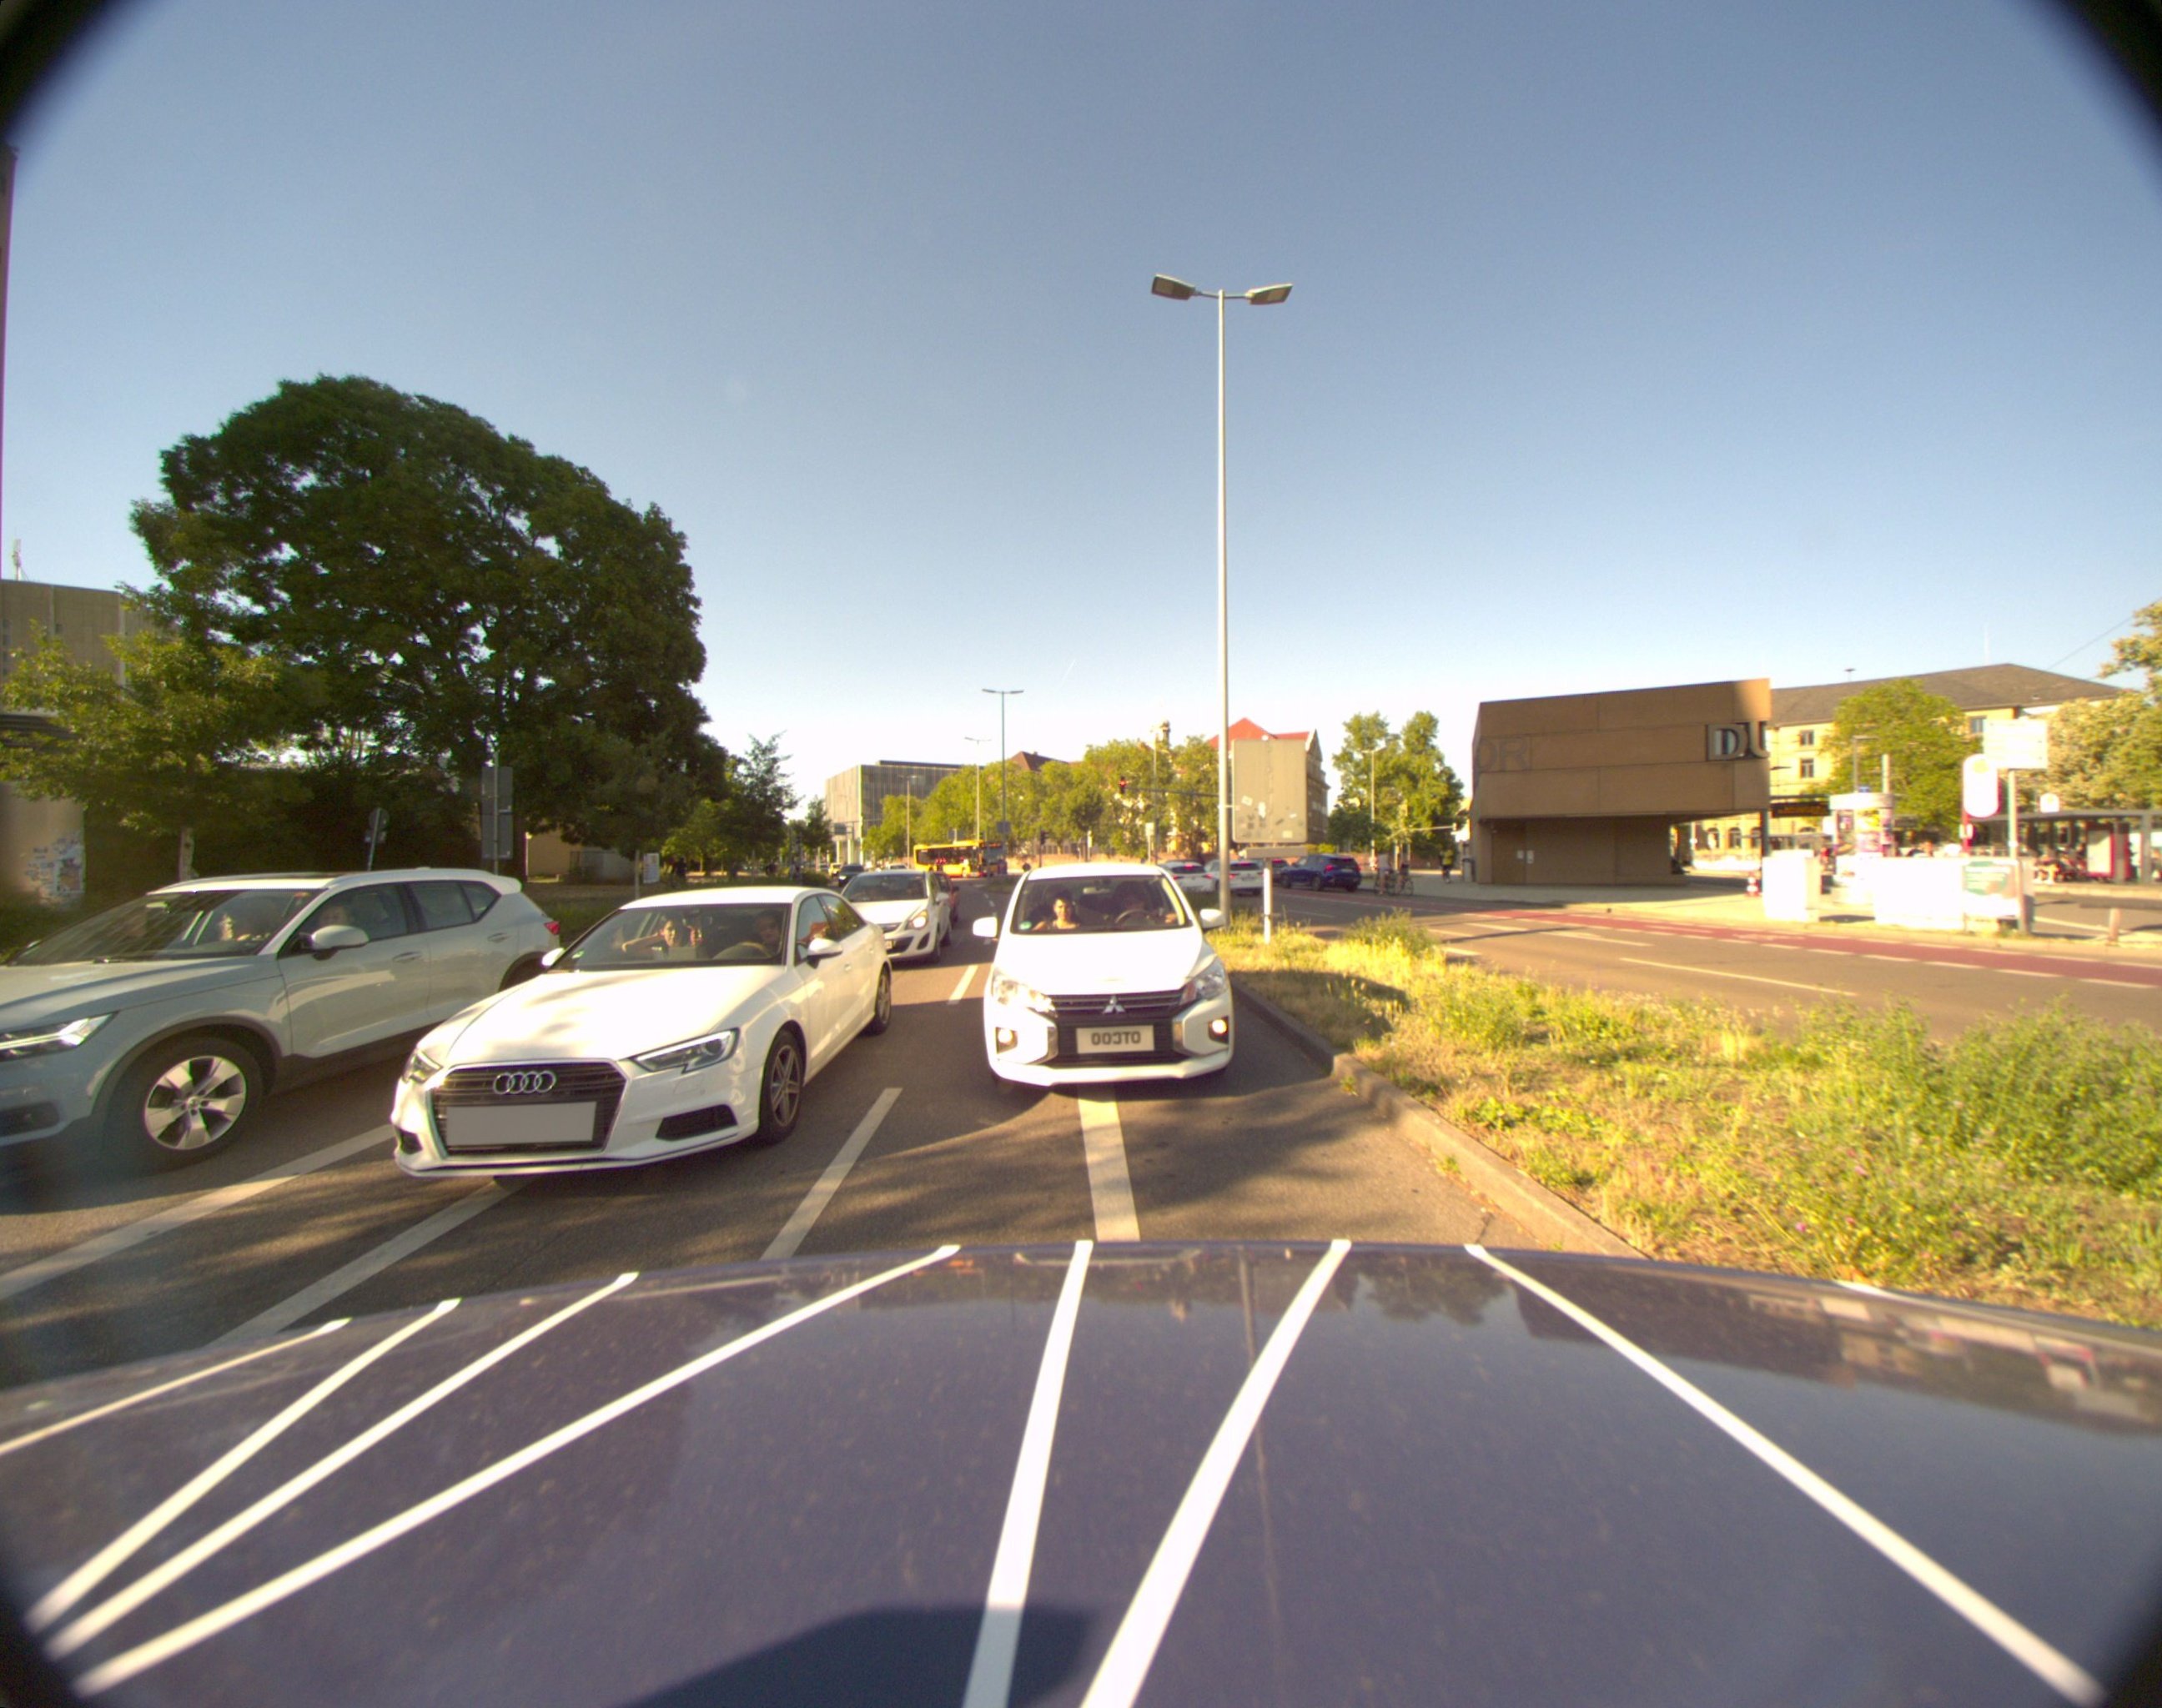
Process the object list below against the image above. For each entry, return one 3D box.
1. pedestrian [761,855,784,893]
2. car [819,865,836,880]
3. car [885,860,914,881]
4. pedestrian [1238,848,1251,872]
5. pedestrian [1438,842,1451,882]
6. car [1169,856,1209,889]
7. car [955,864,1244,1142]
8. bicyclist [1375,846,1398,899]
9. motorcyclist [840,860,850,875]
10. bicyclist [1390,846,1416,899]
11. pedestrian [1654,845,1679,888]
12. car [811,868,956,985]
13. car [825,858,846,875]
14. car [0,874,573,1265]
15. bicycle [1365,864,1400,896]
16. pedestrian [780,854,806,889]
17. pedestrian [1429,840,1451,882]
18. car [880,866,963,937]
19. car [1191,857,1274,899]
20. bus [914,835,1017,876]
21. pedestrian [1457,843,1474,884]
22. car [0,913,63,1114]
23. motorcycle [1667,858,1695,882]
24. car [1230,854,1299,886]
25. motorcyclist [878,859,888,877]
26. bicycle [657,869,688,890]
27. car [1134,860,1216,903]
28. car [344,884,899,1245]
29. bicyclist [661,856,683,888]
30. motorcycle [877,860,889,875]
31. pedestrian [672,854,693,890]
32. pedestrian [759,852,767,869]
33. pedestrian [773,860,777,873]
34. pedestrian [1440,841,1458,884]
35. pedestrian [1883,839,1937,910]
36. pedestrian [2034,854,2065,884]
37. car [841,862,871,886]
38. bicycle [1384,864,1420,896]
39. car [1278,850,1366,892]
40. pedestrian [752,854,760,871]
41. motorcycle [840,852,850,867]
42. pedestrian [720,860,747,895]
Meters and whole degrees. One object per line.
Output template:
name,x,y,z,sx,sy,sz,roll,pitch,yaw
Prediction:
pedestrian,-16.516,1.049,40.753,0.895,2.002,0.881,-2,1,-10
car,-30.279,2.161,90.727,1.748,1.696,3.993,-1,0,-21
car,-13.946,1.271,58.259,1.758,1.451,4.182,-3,1,-19
pedestrian,12.873,0.500,59.694,0.797,1.886,0.612,0,1,40
pedestrian,18.437,0.381,38.530,0.467,2.002,0.657,-2,1,17
car,5.335,0.875,37.977,1.754,1.451,4.190,-2,1,5
car,0.060,0.892,6.437,1.628,1.451,4.040,-2,1,-2
bicyclist,11.760,0.697,29.270,0.611,2.002,0.565,-1,1,-15
motorcyclist,-20.678,1.200,66.621,0.718,1.297,0.734,-3,1,-17
bicyclist,12.478,0.702,29.422,0.611,2.002,0.708,-1,1,-15
pedestrian,27.851,0.596,36.131,0.780,2.002,0.771,-3,2,-42
car,-3.069,1.047,12.584,1.628,1.451,4.039,-2,1,-5
car,-25.313,1.302,78.222,1.748,1.696,3.993,-1,0,-21
car,-5.746,1.051,5.262,1.628,1.611,4.223,-2,1,-2
bicycle,11.696,1.009,29.548,0.464,1.185,1.395,-3,1,-17
pedestrian,-16.949,1.021,44.758,1.143,2.002,1.285,-2,1,-10
pedestrian,17.712,0.347,37.490,0.777,2.002,0.773,-2,1,13
car,-3.892,1.095,19.101,1.628,1.451,4.039,-2,1,-7
car,6.133,0.941,31.279,1.850,1.483,4.388,-2,1,-10
bus,-10.280,0.185,65.830,3.092,3.193,12.512,-3,1,-38
pedestrian,19.115,0.450,37.737,0.655,2.002,0.469,-2,1,20
car,-8.754,1.240,3.887,1.628,1.451,4.040,-2,1,-2
motorcycle,26.232,0.703,33.226,0.948,1.061,0.331,-1,1,39
car,9.338,0.784,39.062,1.850,1.483,4.388,1,0,-10
motorcyclist,-17.817,1.232,68.455,0.712,1.581,0.689,-3,1,-22
bicycle,-20.240,1.250,37.665,0.660,0.958,2.033,0,1,-7
car,3.529,0.996,29.347,1.757,1.451,4.184,-2,1,-13
car,-2.549,1.035,5.395,1.628,1.396,3.832,-2,1,-2
bicyclist,-20.258,0.890,37.639,0.617,1.551,0.870,-2,1,-8
motorcycle,-17.839,1.223,68.502,0.719,1.297,2.231,-3,1,-21
pedestrian,-17.958,0.808,34.231,0.596,1.585,0.594,-2,1,-8
pedestrian,-29.105,0.594,69.585,0.548,1.597,0.603,-3,1,-19
pedestrian,-41.843,1.709,103.861,0.399,1.676,0.483,-1,1,1
pedestrian,17.339,0.385,35.823,0.655,2.002,0.469,-2,1,20
pedestrian,20.960,0.521,19.227,0.713,1.748,0.583,-2,1,20
pedestrian,38.947,0.610,30.557,0.539,1.180,0.659,-2,1,29
car,-15.322,1.304,51.922,1.757,1.451,4.183,-2,1,-14
bicycle,12.465,0.979,29.537,0.464,1.185,1.395,-3,1,-17
car,10.432,0.689,33.179,1.757,1.680,4.184,-1,0,-13
pedestrian,-29.652,0.745,69.342,0.548,1.521,0.603,-3,1,-19
motorcycle,-20.701,0.478,66.563,0.718,1.297,2.231,-3,1,-18
pedestrian,-17.561,1.179,38.431,1.010,1.711,0.884,-2,1,-10
